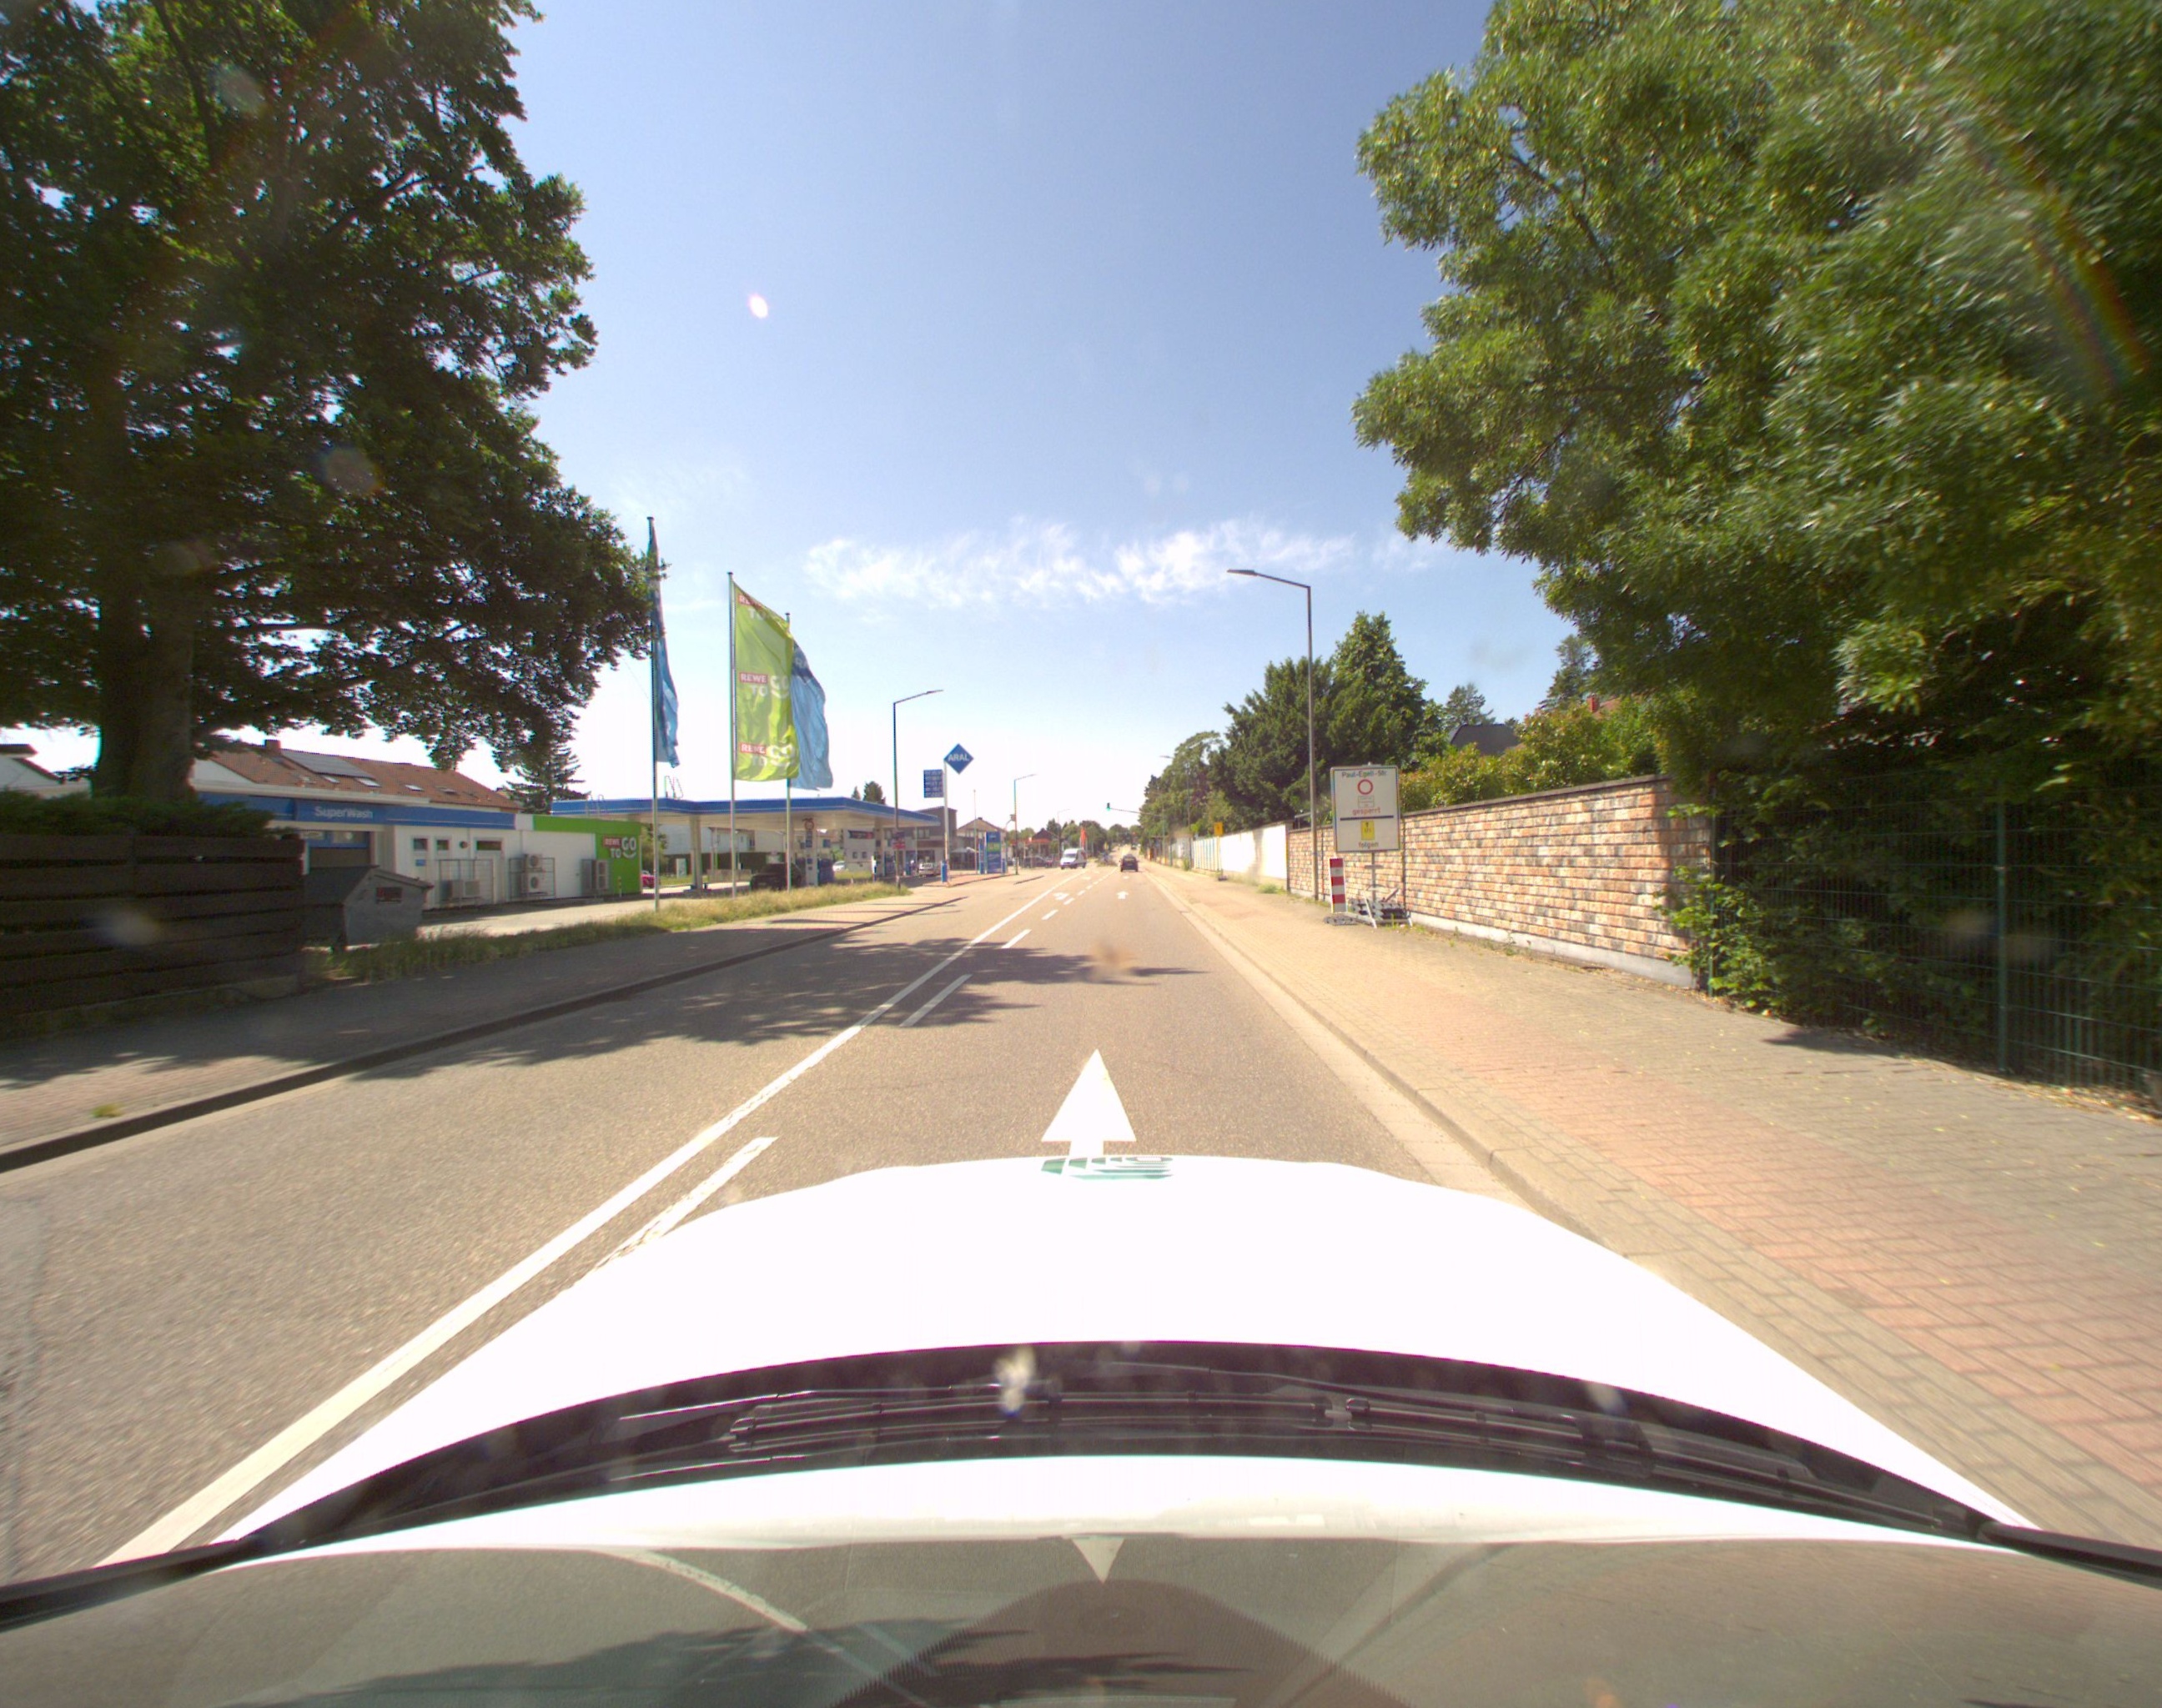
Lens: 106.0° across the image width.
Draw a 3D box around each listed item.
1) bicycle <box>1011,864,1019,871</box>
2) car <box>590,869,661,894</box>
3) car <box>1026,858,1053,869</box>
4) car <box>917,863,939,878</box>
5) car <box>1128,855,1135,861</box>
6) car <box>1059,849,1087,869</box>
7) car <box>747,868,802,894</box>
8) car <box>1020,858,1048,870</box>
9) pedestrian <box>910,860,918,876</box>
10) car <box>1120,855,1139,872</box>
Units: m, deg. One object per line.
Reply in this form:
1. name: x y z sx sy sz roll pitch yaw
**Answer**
1. bicycle: -8.722 1.785 107.432 0.610 0.793 2.577 -2 0 3
2. car: -32.127 1.918 57.559 3.981 1.536 1.672 -2 0 -5
3. car: -6.348 1.496 123.814 3.975 1.508 1.554 -2 0 -1
4. car: -16.133 1.731 86.193 1.612 1.420 3.710 -3 0 -1
5. car: 12.391 1.056 198.846 1.658 1.455 3.475 -2 0 3
6. car: -1.004 0.699 106.848 1.978 2.423 5.973 -1 -1 17
7. car: -18.751 1.640 49.978 1.663 1.381 4.003 -2 0 3
8. car: -6.694 1.402 116.258 3.975 1.508 1.554 -2 0 -1
9. pedestrian: -17.889 1.482 87.105 0.613 1.691 0.703 -2 0 -23
10. car: 4.562 0.883 76.413 1.658 1.455 3.475 -2 0 3
